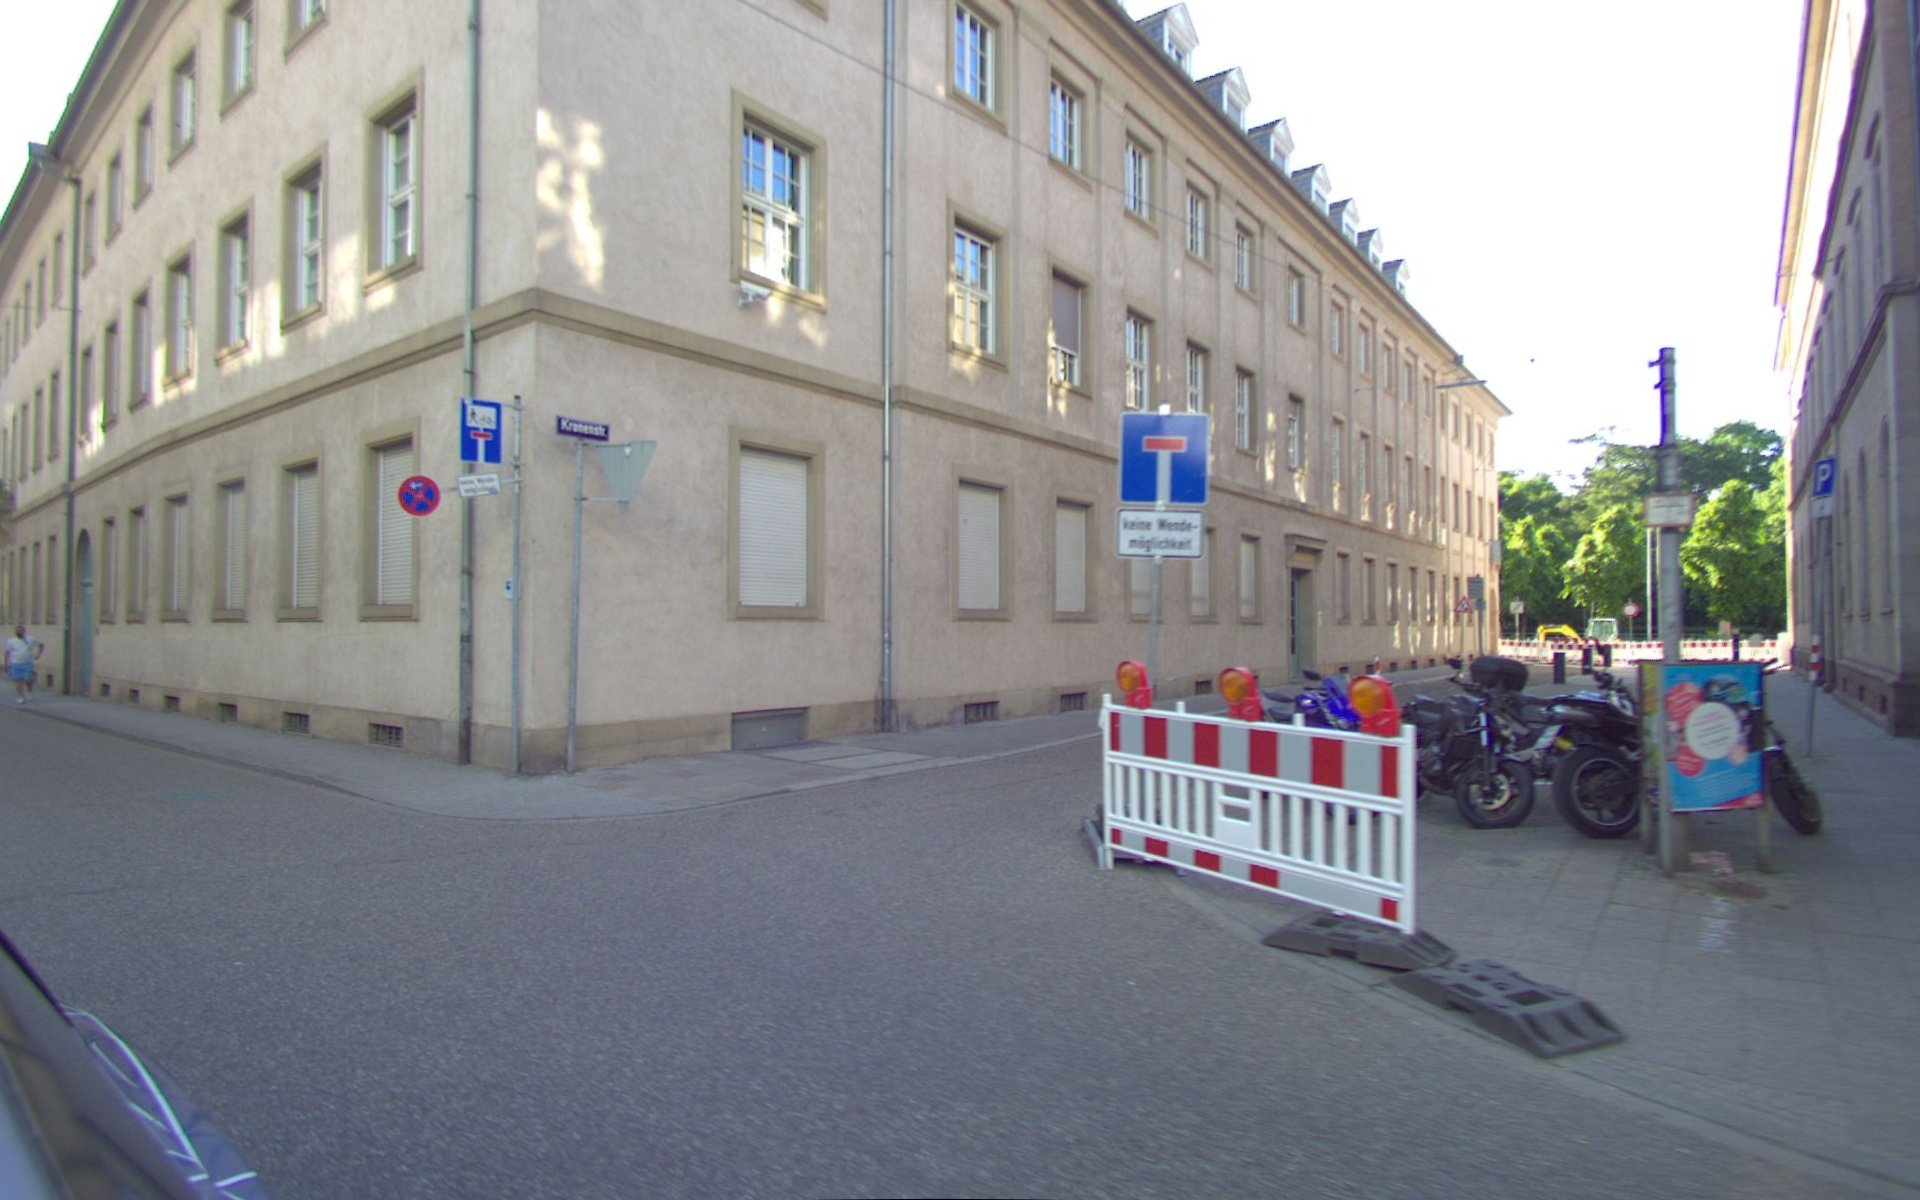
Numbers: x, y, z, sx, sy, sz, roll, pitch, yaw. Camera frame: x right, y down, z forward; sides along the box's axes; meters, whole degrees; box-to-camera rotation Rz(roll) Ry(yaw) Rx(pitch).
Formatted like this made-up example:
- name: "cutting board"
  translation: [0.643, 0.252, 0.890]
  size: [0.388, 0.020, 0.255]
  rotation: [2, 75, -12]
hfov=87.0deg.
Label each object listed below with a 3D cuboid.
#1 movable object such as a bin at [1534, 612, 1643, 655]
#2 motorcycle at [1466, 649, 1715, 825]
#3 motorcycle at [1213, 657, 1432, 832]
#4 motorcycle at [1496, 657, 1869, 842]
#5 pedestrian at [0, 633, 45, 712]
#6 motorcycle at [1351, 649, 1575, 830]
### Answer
- name: "movable object such as a bin"
  translation: [33.695, 1.777, 54.301]
  size: [4.467, 2.186, 3.058]
  rotation: [-2, -2, 42]
- name: "motorcycle"
  translation: [5.263, 1.076, 8.659]
  size: [0.579, 1.284, 2.130]
  rotation: [0, -2, -6]
- name: "motorcycle"
  translation: [2.908, 1.106, 8.453]
  size: [0.578, 1.182, 2.288]
  rotation: [-3, -2, -10]
- name: "motorcycle"
  translation: [5.023, 1.008, 7.103]
  size: [2.167, 1.182, 0.661]
  rotation: [0, -2, -5]
- name: "pedestrian"
  translation: [-20.978, 1.601, 22.599]
  size: [0.875, 1.682, 0.685]
  rotation: [-2, 0, 42]
- name: "motorcycle"
  translation: [4.141, 1.081, 8.572]
  size: [0.579, 1.303, 2.203]
  rotation: [0, -2, -6]
